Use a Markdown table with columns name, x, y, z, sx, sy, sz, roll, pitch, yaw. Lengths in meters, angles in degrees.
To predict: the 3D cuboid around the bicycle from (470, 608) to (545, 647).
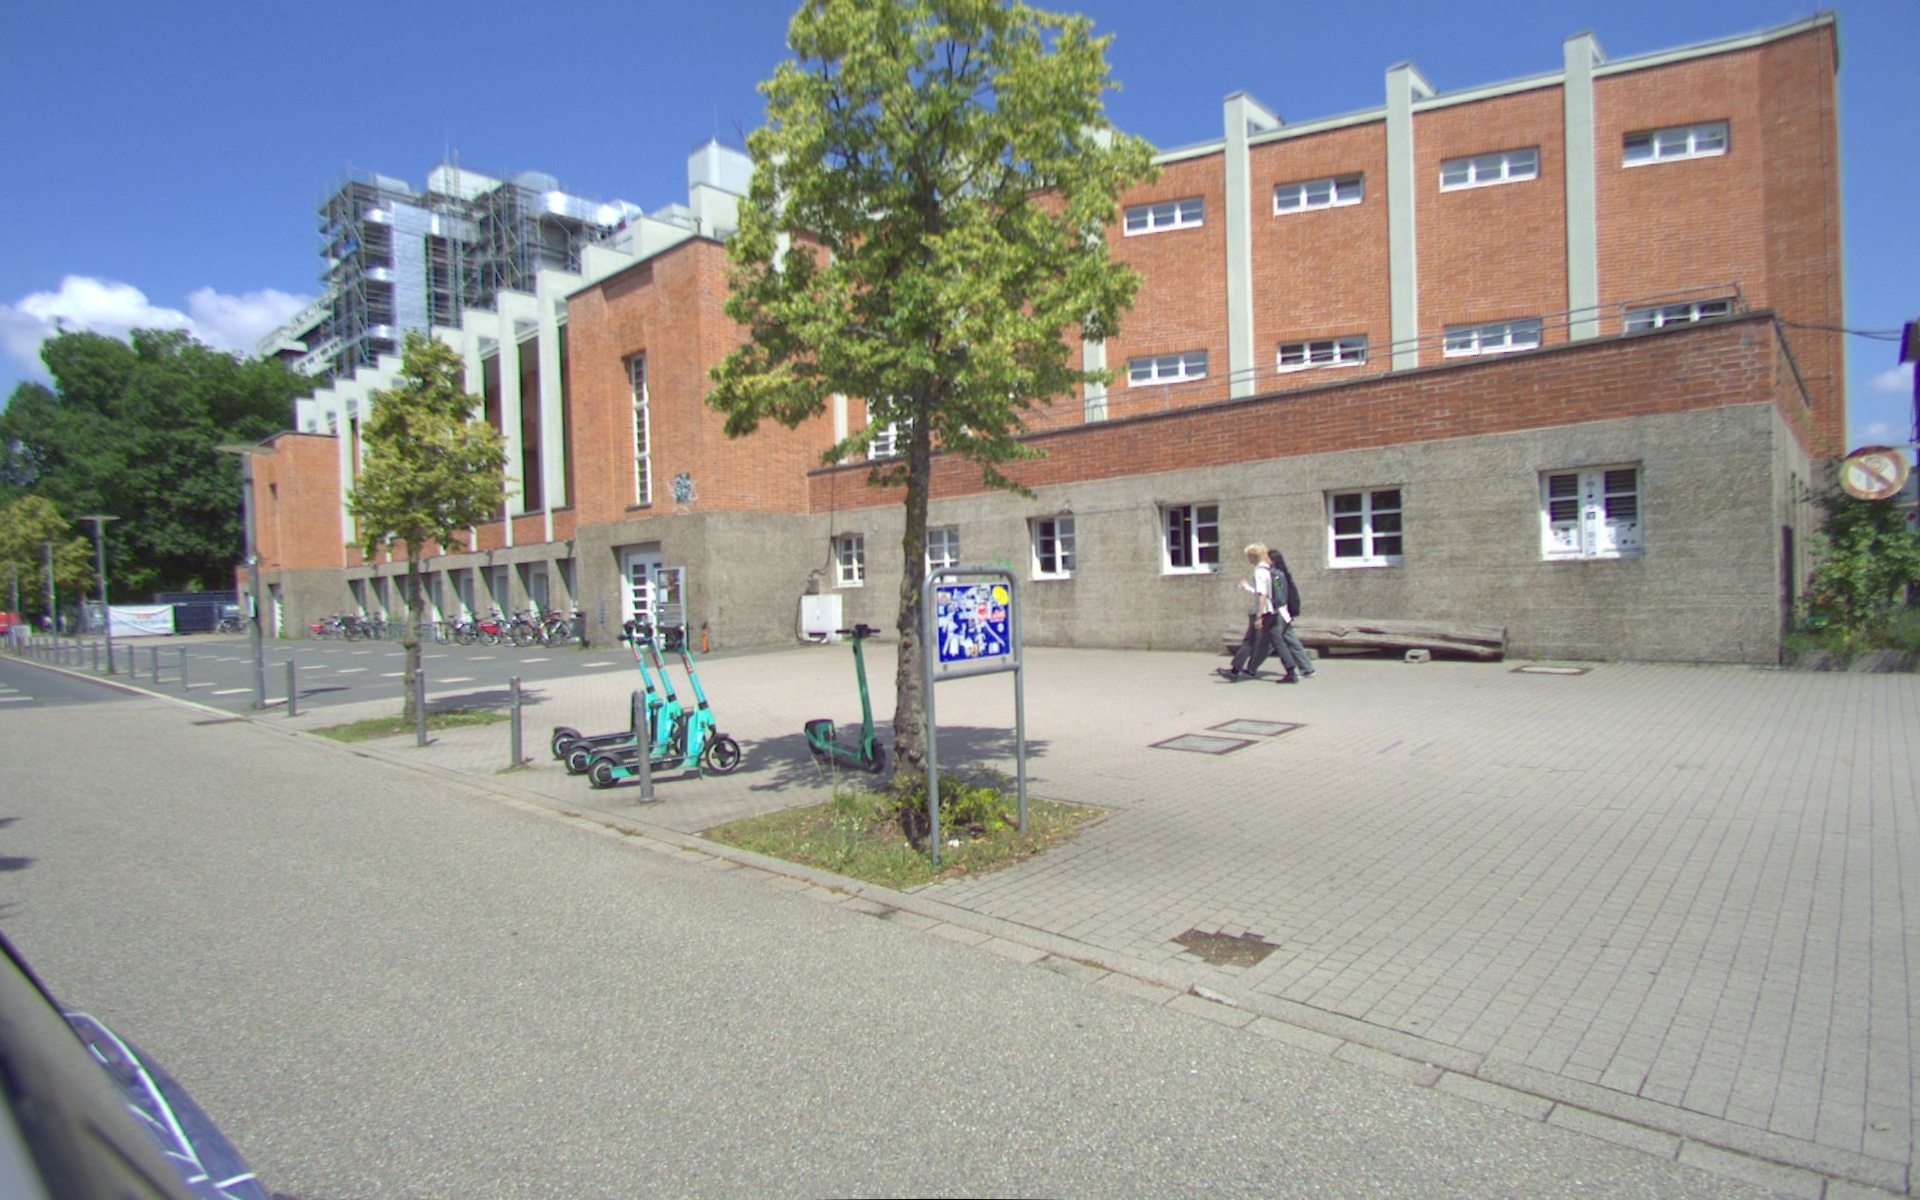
| name | x | y | z | sx | sy | sz | roll | pitch | yaw |
| --- | --- | --- | --- | --- | --- | --- | --- | --- | --- |
| bicycle | -13.747 | 0.820 | 30.788 | 0.621 | 1.090 | 1.988 | -2 | 0 | 41 |

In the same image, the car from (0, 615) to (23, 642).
| name | x | y | z | sx | sy | sz | roll | pitch | yaw |
| --- | --- | --- | --- | --- | --- | --- | --- | --- | --- |
| car | -71.109 | 2.146 | 75.217 | 1.885 | 1.896 | 4.006 | -3 | 0 | -40 |

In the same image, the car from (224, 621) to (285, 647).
| name | x | y | z | sx | sy | sz | roll | pitch | yaw |
| --- | --- | --- | --- | --- | --- | --- | --- | --- | --- |
| car | -36.268 | 1.738 | 52.052 | 0.632 | 1.189 | 2.493 | -2 | 0 | 44 |

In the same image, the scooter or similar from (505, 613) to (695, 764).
| name | x | y | z | sx | sy | sz | roll | pitch | yaw |
| --- | --- | --- | --- | --- | --- | --- | --- | --- | --- |
| scooter or similar | -3.269 | 0.769 | 9.252 | 1.548 | 1.234 | 0.572 | -2 | 1 | -20 |

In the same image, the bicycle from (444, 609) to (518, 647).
| name | x | y | z | sx | sy | sz | roll | pitch | yaw |
| --- | --- | --- | --- | --- | --- | --- | --- | --- | --- |
| bicycle | -15.125 | 0.874 | 31.977 | 0.663 | 1.069 | 2.000 | -2 | 0 | 42 |

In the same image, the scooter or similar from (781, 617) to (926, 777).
| name | x | y | z | sx | sy | sz | roll | pitch | yaw |
| --- | --- | --- | --- | --- | --- | --- | --- | --- | --- |
| scooter or similar | -0.896 | 0.736 | 8.269 | 0.555 | 1.157 | 1.353 | -2 | 1 | -35 |

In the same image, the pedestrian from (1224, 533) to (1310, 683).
| name | x | y | z | sx | sy | sz | roll | pitch | yaw |
| --- | --- | --- | --- | --- | --- | --- | --- | --- | --- |
| pedestrian | 3.772 | 0.089 | 12.429 | 0.805 | 1.775 | 0.557 | -1 | 1 | 42 |

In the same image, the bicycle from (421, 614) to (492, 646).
| name | x | y | z | sx | sy | sz | roll | pitch | yaw |
| --- | --- | --- | --- | --- | --- | --- | --- | --- | --- |
| bicycle | -16.480 | 0.970 | 33.152 | 0.684 | 0.967 | 1.930 | -2 | 0 | 42 |

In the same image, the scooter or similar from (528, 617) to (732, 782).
| name | x | y | z | sx | sy | sz | roll | pitch | yaw |
| --- | --- | --- | --- | --- | --- | --- | --- | --- | --- |
| scooter or similar | -2.763 | 0.799 | 8.534 | 1.548 | 1.234 | 0.567 | -2 | 1 | -20 |

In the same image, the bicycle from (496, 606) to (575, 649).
| name | x | y | z | sx | sy | sz | roll | pitch | yaw |
| --- | --- | --- | --- | --- | --- | --- | --- | --- | --- |
| bicycle | -12.171 | 0.763 | 29.050 | 0.592 | 1.134 | 1.999 | -2 | 0 | 43 |

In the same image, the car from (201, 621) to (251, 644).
| name | x | y | z | sx | sy | sz | roll | pitch | yaw |
| --- | --- | --- | --- | --- | --- | --- | --- | --- | --- |
| car | -42.911 | 1.898 | 59.170 | 0.524 | 1.189 | 2.257 | -2 | 0 | 44 |

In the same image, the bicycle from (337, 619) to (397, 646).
| name | x | y | z | sx | sy | sz | roll | pitch | yaw |
| --- | --- | --- | --- | --- | --- | --- | --- | --- | --- |
| bicycle | -23.114 | 1.256 | 39.476 | 0.569 | 0.947 | 1.930 | -2 | 0 | 41 |

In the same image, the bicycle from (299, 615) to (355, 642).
| name | x | y | z | sx | sy | sz | roll | pitch | yaw |
| --- | --- | --- | --- | --- | --- | --- | --- | --- | --- |
| bicycle | -26.673 | 1.190 | 42.663 | 0.542 | 1.038 | 1.930 | -2 | 0 | 41 |

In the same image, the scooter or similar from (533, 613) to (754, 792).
| name | x | y | z | sx | sy | sz | roll | pitch | yaw |
| --- | --- | --- | --- | --- | --- | --- | --- | --- | --- |
| scooter or similar | -2.442 | 0.752 | 7.855 | 1.548 | 1.234 | 0.526 | -2 | 1 | -20 |

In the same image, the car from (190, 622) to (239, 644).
| name | x | y | z | sx | sy | sz | roll | pitch | yaw |
| --- | --- | --- | --- | --- | --- | --- | --- | --- | --- |
| car | -44.774 | 1.967 | 60.768 | 0.479 | 1.189 | 2.293 | -2 | 0 | 44 |

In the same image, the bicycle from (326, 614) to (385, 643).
| name | x | y | z | sx | sy | sz | roll | pitch | yaw |
| --- | --- | --- | --- | --- | --- | --- | --- | --- | --- |
| bicycle | -24.163 | 1.123 | 40.447 | 0.530 | 1.038 | 1.930 | -2 | 0 | 41 |

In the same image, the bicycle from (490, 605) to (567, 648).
| name | x | y | z | sx | sy | sz | roll | pitch | yaw |
| --- | --- | --- | --- | --- | --- | --- | --- | --- | --- |
| bicycle | -12.647 | 0.765 | 29.737 | 1.998 | 1.134 | 0.439 | -4 | 2 | -43 |

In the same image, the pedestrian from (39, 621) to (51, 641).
| name | x | y | z | sx | sy | sz | roll | pitch | yaw |
| --- | --- | --- | --- | --- | --- | --- | --- | --- | --- |
| pedestrian | -71.998 | 2.454 | 79.632 | 0.633 | 1.550 | 0.454 | -2 | 0 | -36 |

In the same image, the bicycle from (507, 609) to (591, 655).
| name | x | y | z | sx | sy | sz | roll | pitch | yaw |
| --- | --- | --- | --- | --- | --- | --- | --- | --- | --- |
| bicycle | -11.149 | 0.844 | 27.499 | 0.667 | 1.134 | 2.000 | -2 | 0 | 42 |

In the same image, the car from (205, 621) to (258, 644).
| name | x | y | z | sx | sy | sz | roll | pitch | yaw |
| --- | --- | --- | --- | --- | --- | --- | --- | --- | --- |
| car | -41.641 | 1.845 | 57.836 | 0.794 | 1.189 | 2.336 | -2 | 0 | 44 |

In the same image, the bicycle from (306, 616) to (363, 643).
| name | x | y | z | sx | sy | sz | roll | pitch | yaw |
| --- | --- | --- | --- | --- | --- | --- | --- | --- | --- |
| bicycle | -25.956 | 1.214 | 42.007 | 0.518 | 1.038 | 1.930 | -2 | 0 | 41 |

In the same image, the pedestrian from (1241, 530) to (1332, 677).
| name | x | y | z | sx | sy | sz | roll | pitch | yaw |
| --- | --- | --- | --- | --- | --- | --- | --- | --- | --- |
| pedestrian | 4.153 | 0.044 | 12.886 | 0.917 | 1.793 | 0.569 | -1 | 0 | 42 |
